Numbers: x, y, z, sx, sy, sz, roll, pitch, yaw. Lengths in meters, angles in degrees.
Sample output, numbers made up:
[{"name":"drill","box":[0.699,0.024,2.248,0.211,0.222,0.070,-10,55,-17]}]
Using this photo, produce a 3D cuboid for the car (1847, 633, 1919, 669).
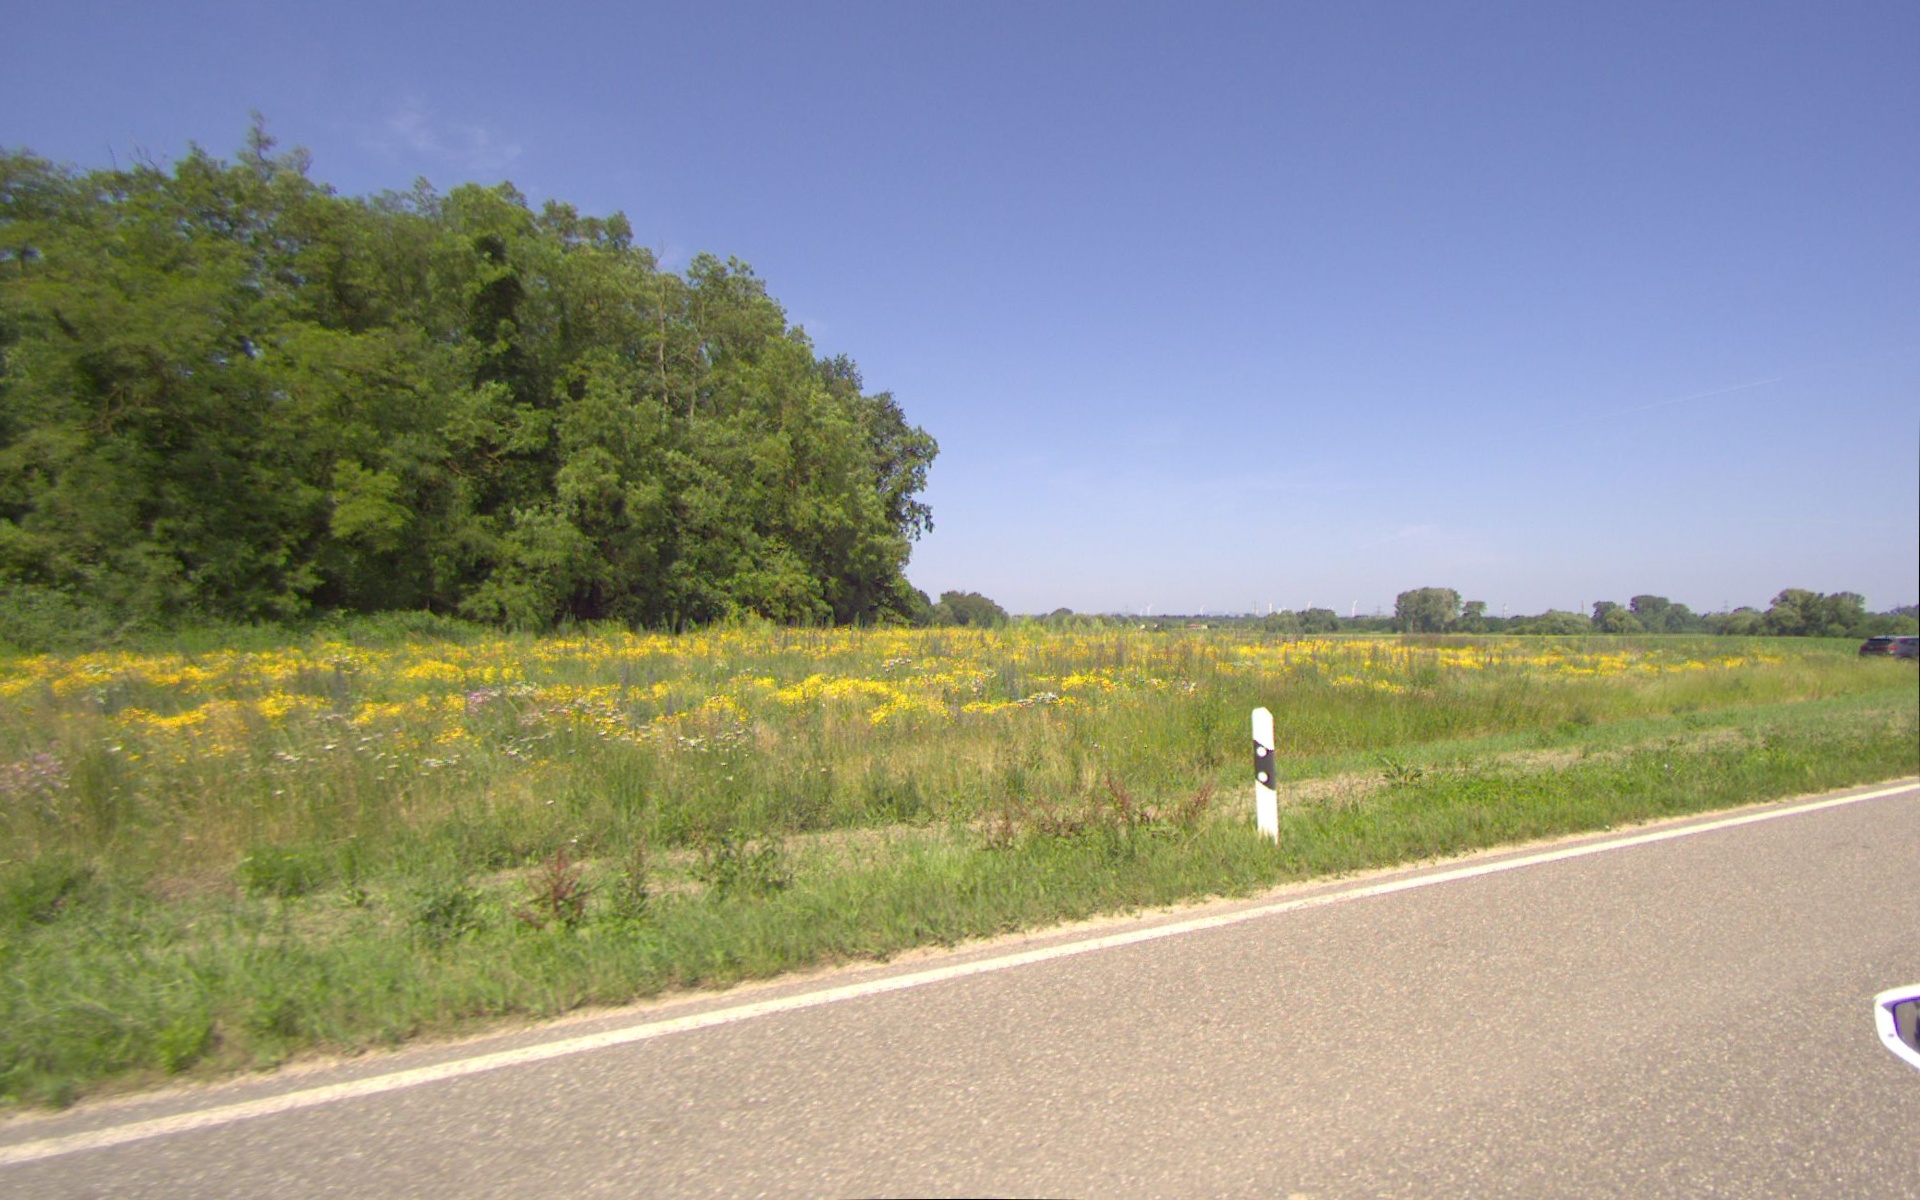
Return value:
[{"name":"car","box":[45.474,2.445,48.193,4.442,1.673,1.758,0,-2,-4]}]
